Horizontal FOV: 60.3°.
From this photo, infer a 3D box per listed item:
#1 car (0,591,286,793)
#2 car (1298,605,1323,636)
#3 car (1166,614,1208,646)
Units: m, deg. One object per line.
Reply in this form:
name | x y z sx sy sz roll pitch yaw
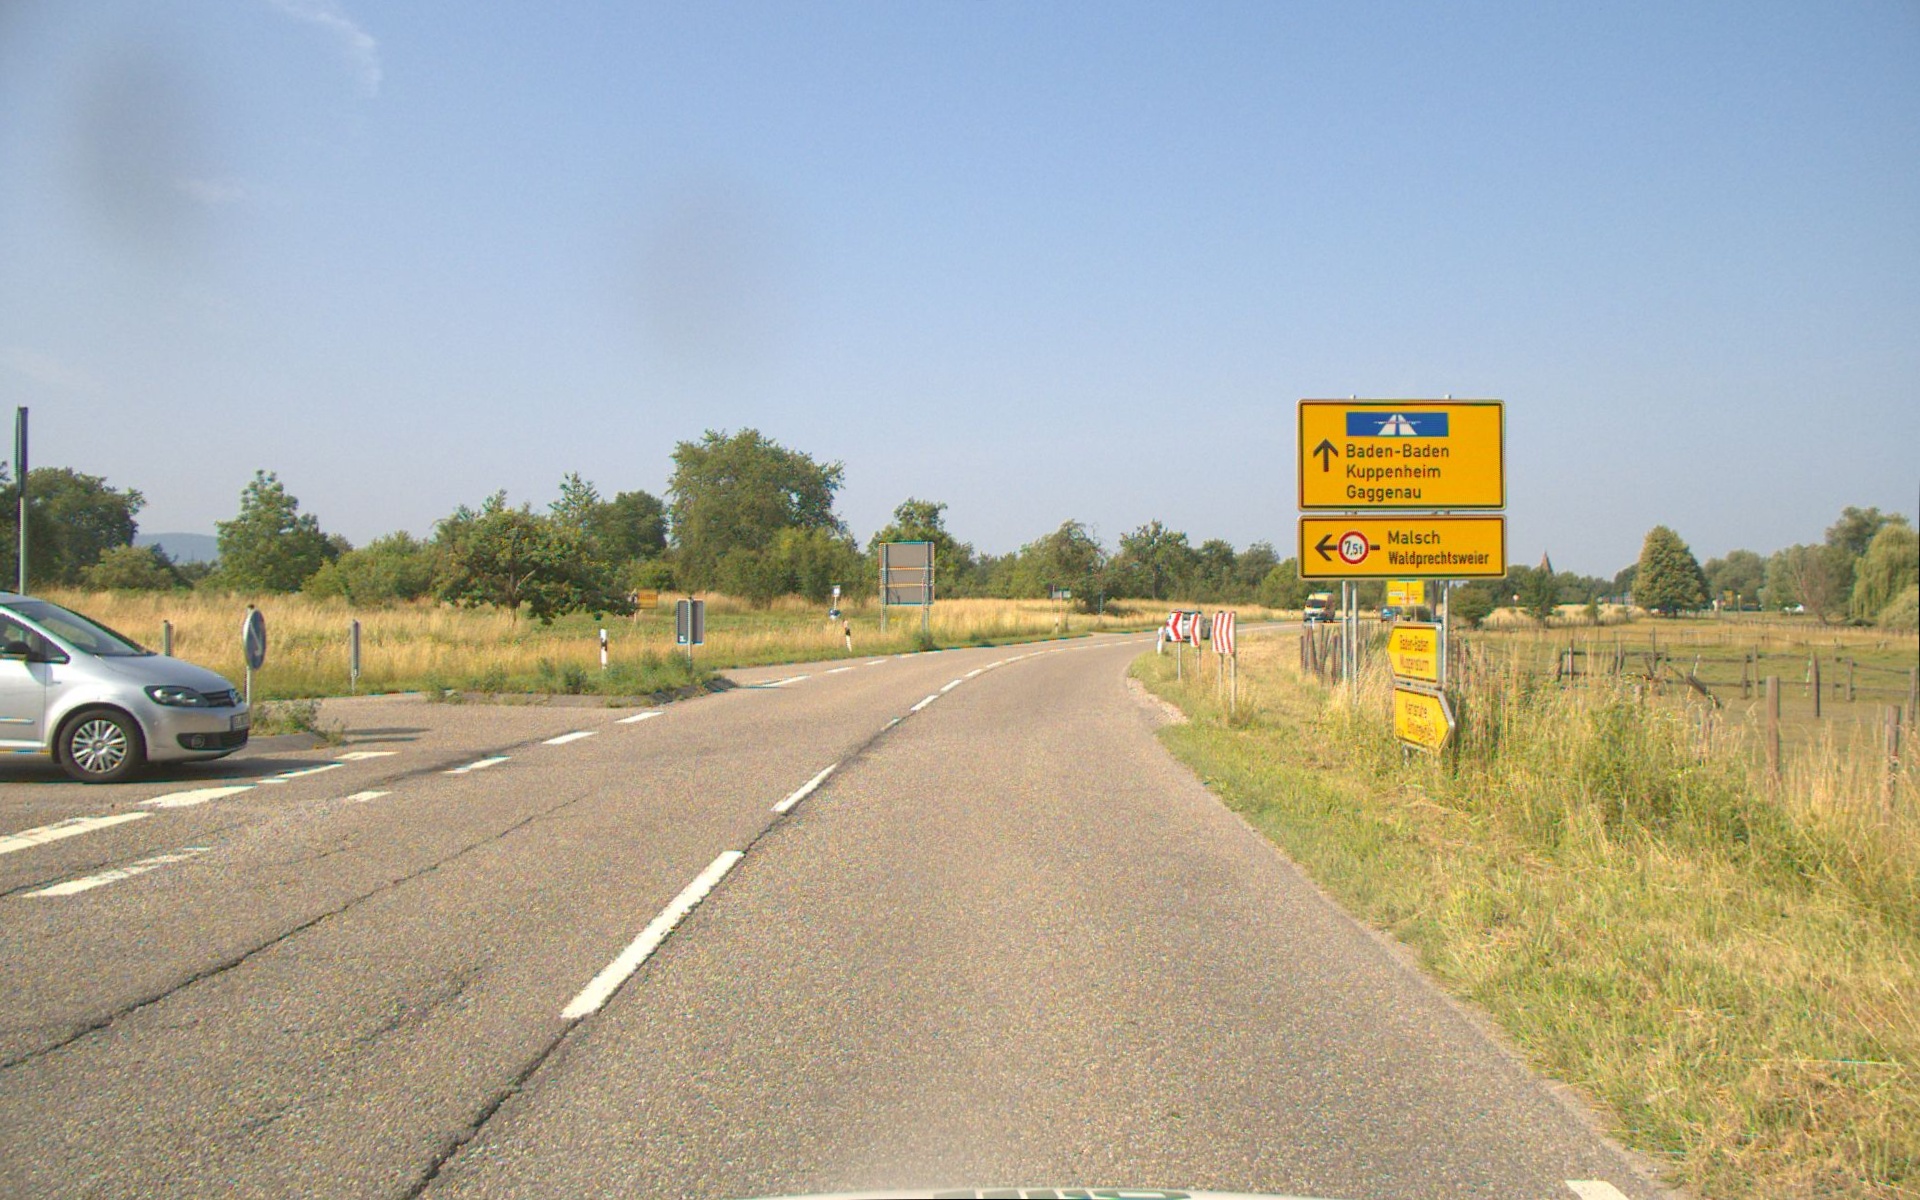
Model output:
car | -8.057 0.732 14.153 3.824 1.607 1.996 1 0 -9
car | 31.951 1.813 150.712 2.078 2.743 5.272 0 0 14
car | 11.699 1.517 85.032 1.858 1.538 4.003 1 0 12
